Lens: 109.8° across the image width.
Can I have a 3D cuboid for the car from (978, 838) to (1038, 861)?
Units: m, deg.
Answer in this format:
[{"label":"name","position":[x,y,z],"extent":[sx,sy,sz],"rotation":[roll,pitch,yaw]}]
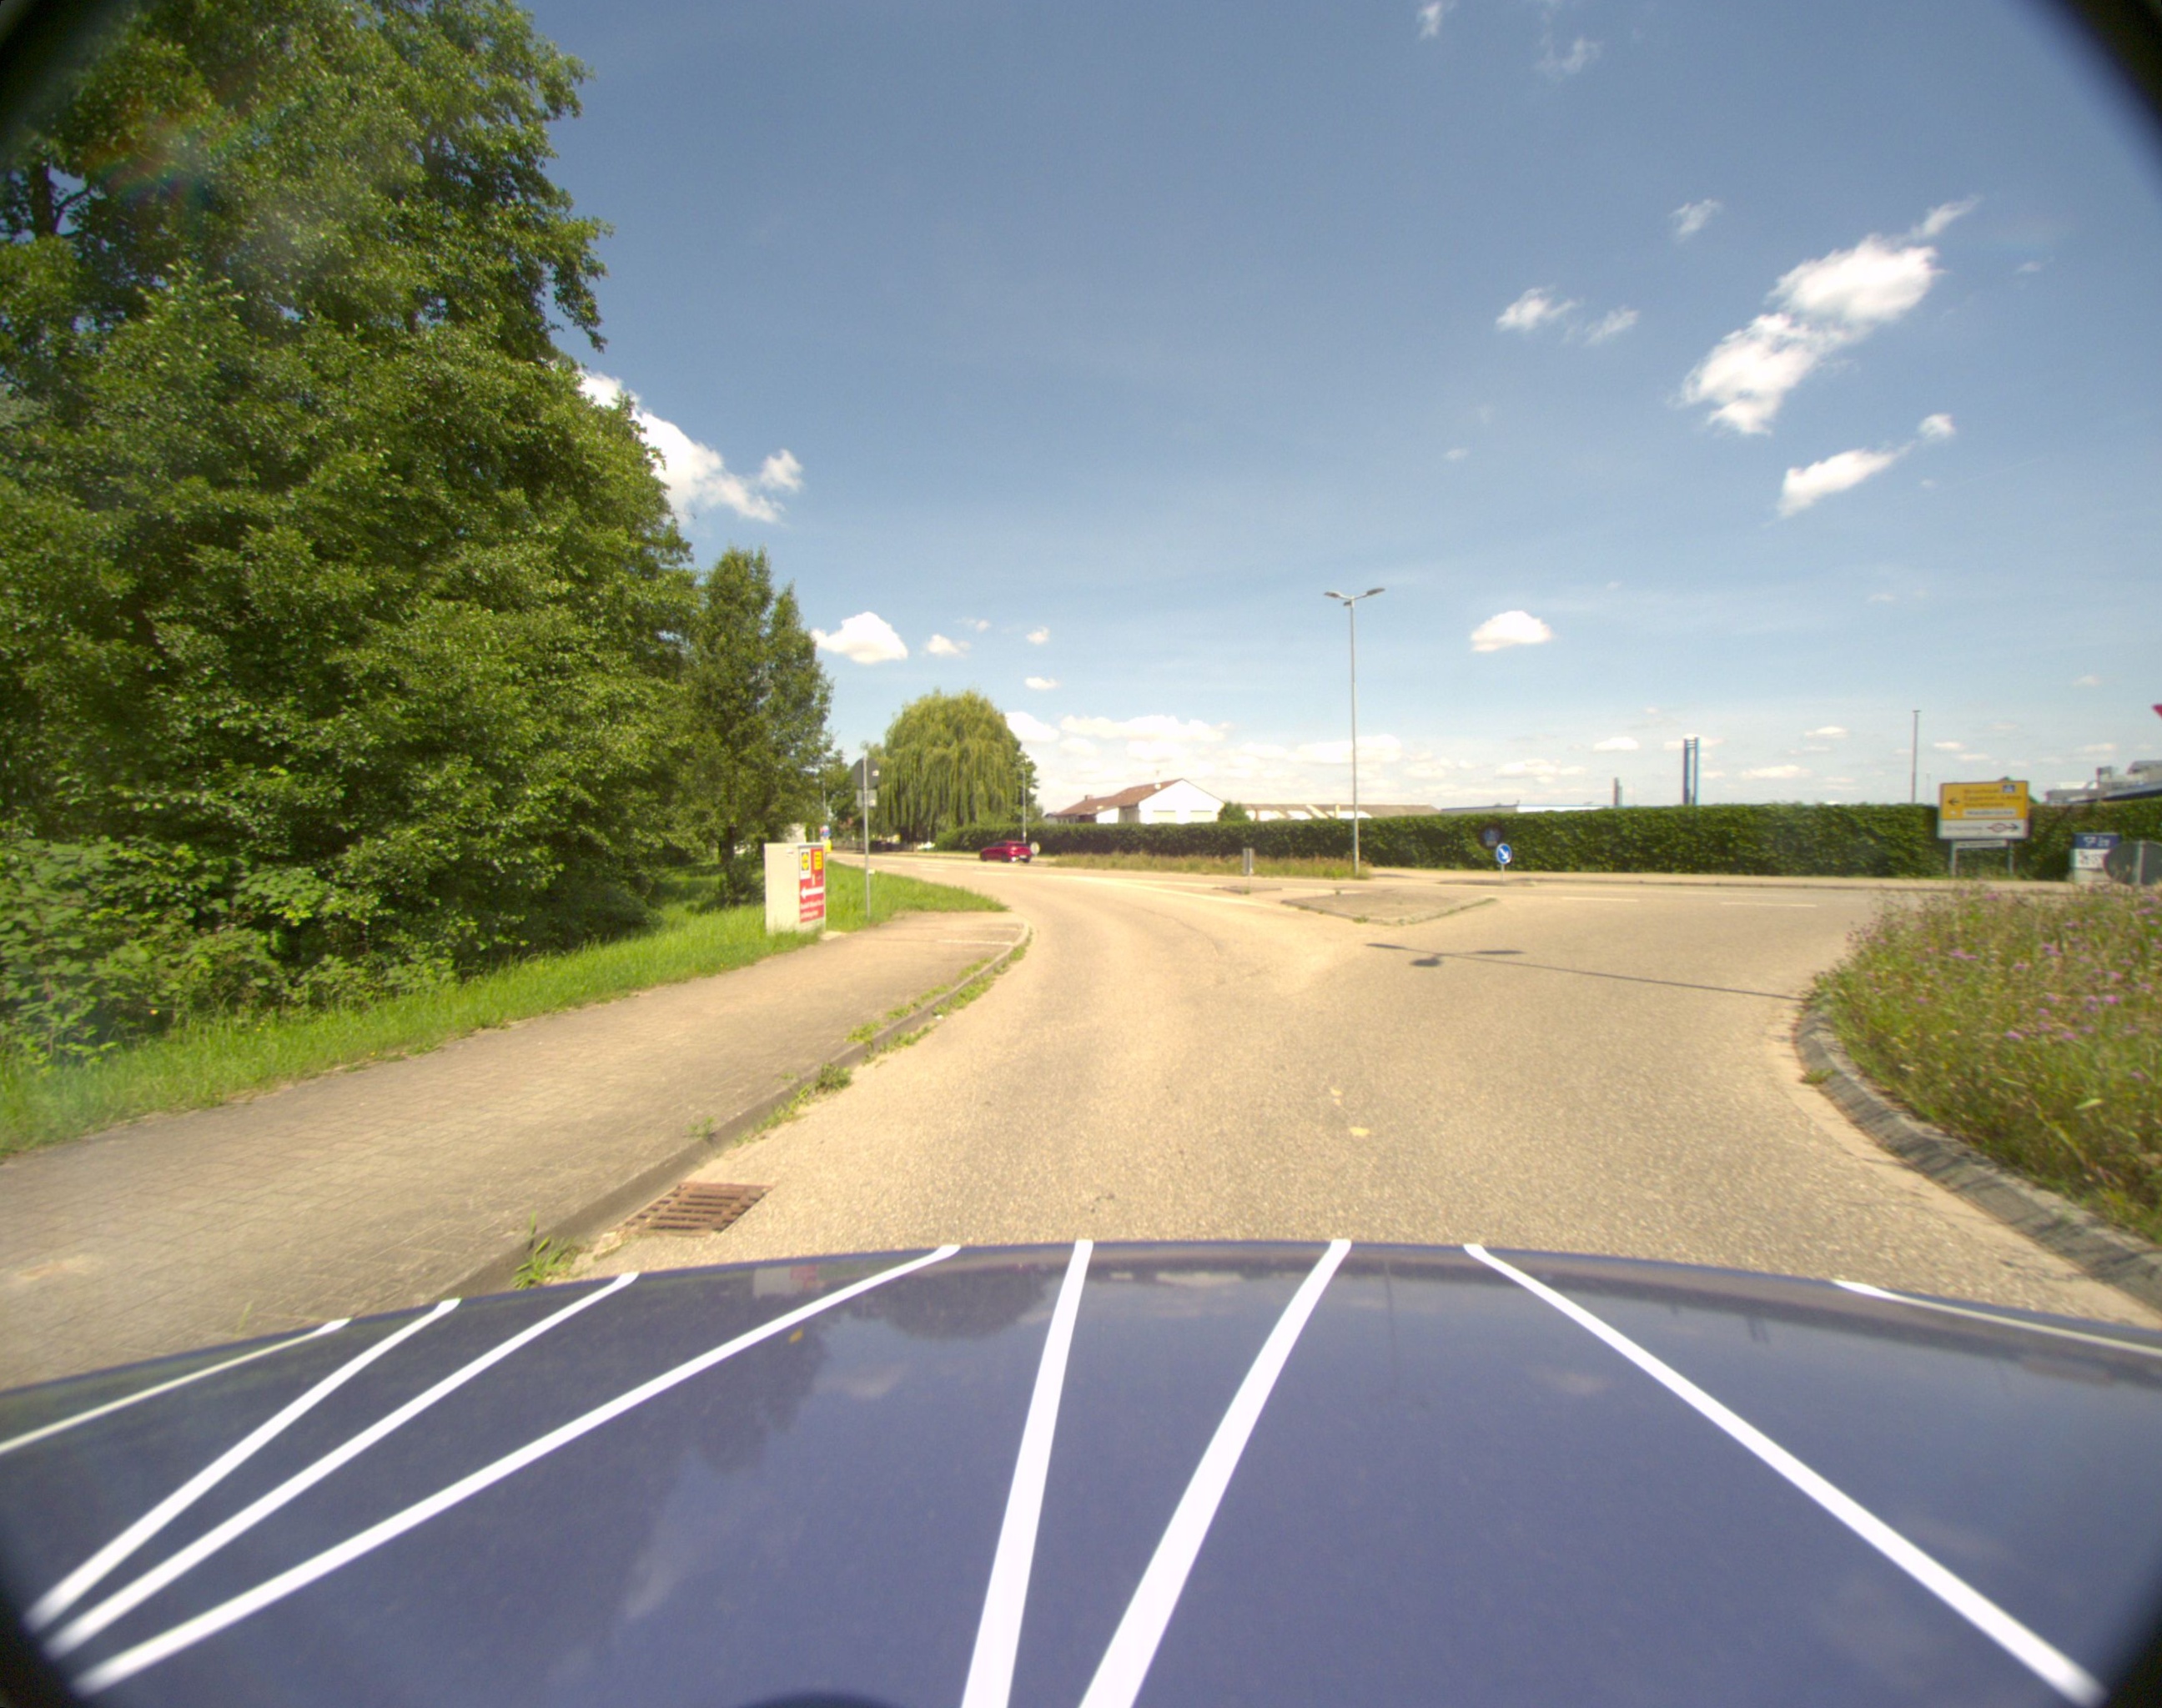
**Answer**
[{"label":"car","position":[-4.832,-0.321,49.840],"extent":[1.889,1.456,4.374],"rotation":[-1,1,-37]}]
